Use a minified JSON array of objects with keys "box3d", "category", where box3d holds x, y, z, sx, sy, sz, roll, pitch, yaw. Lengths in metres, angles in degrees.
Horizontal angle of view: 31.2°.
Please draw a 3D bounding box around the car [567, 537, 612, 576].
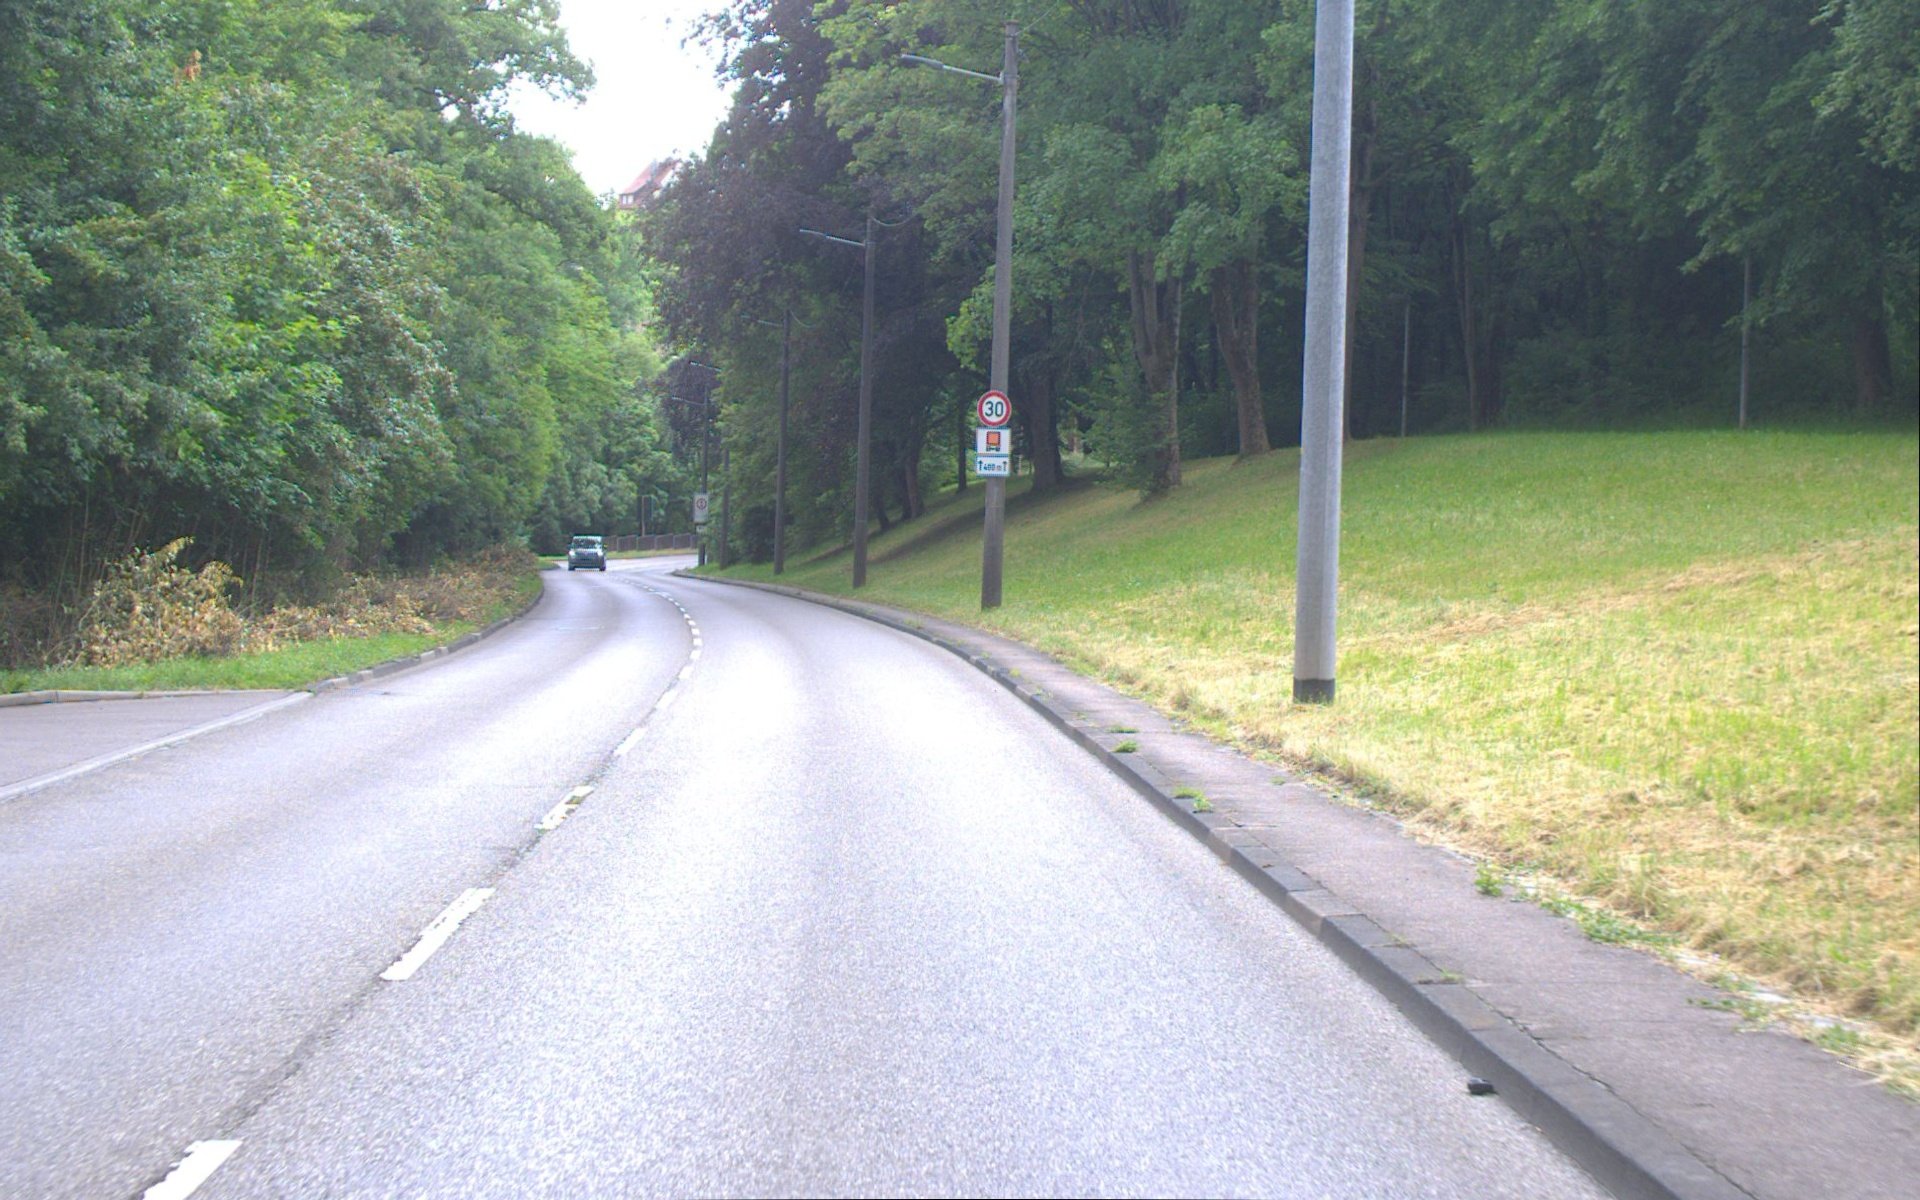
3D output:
[{"box3d":[-19.983,-2.352,185.686,1.993,2.007,4.000,2,0,-1],"category":"car"}]
